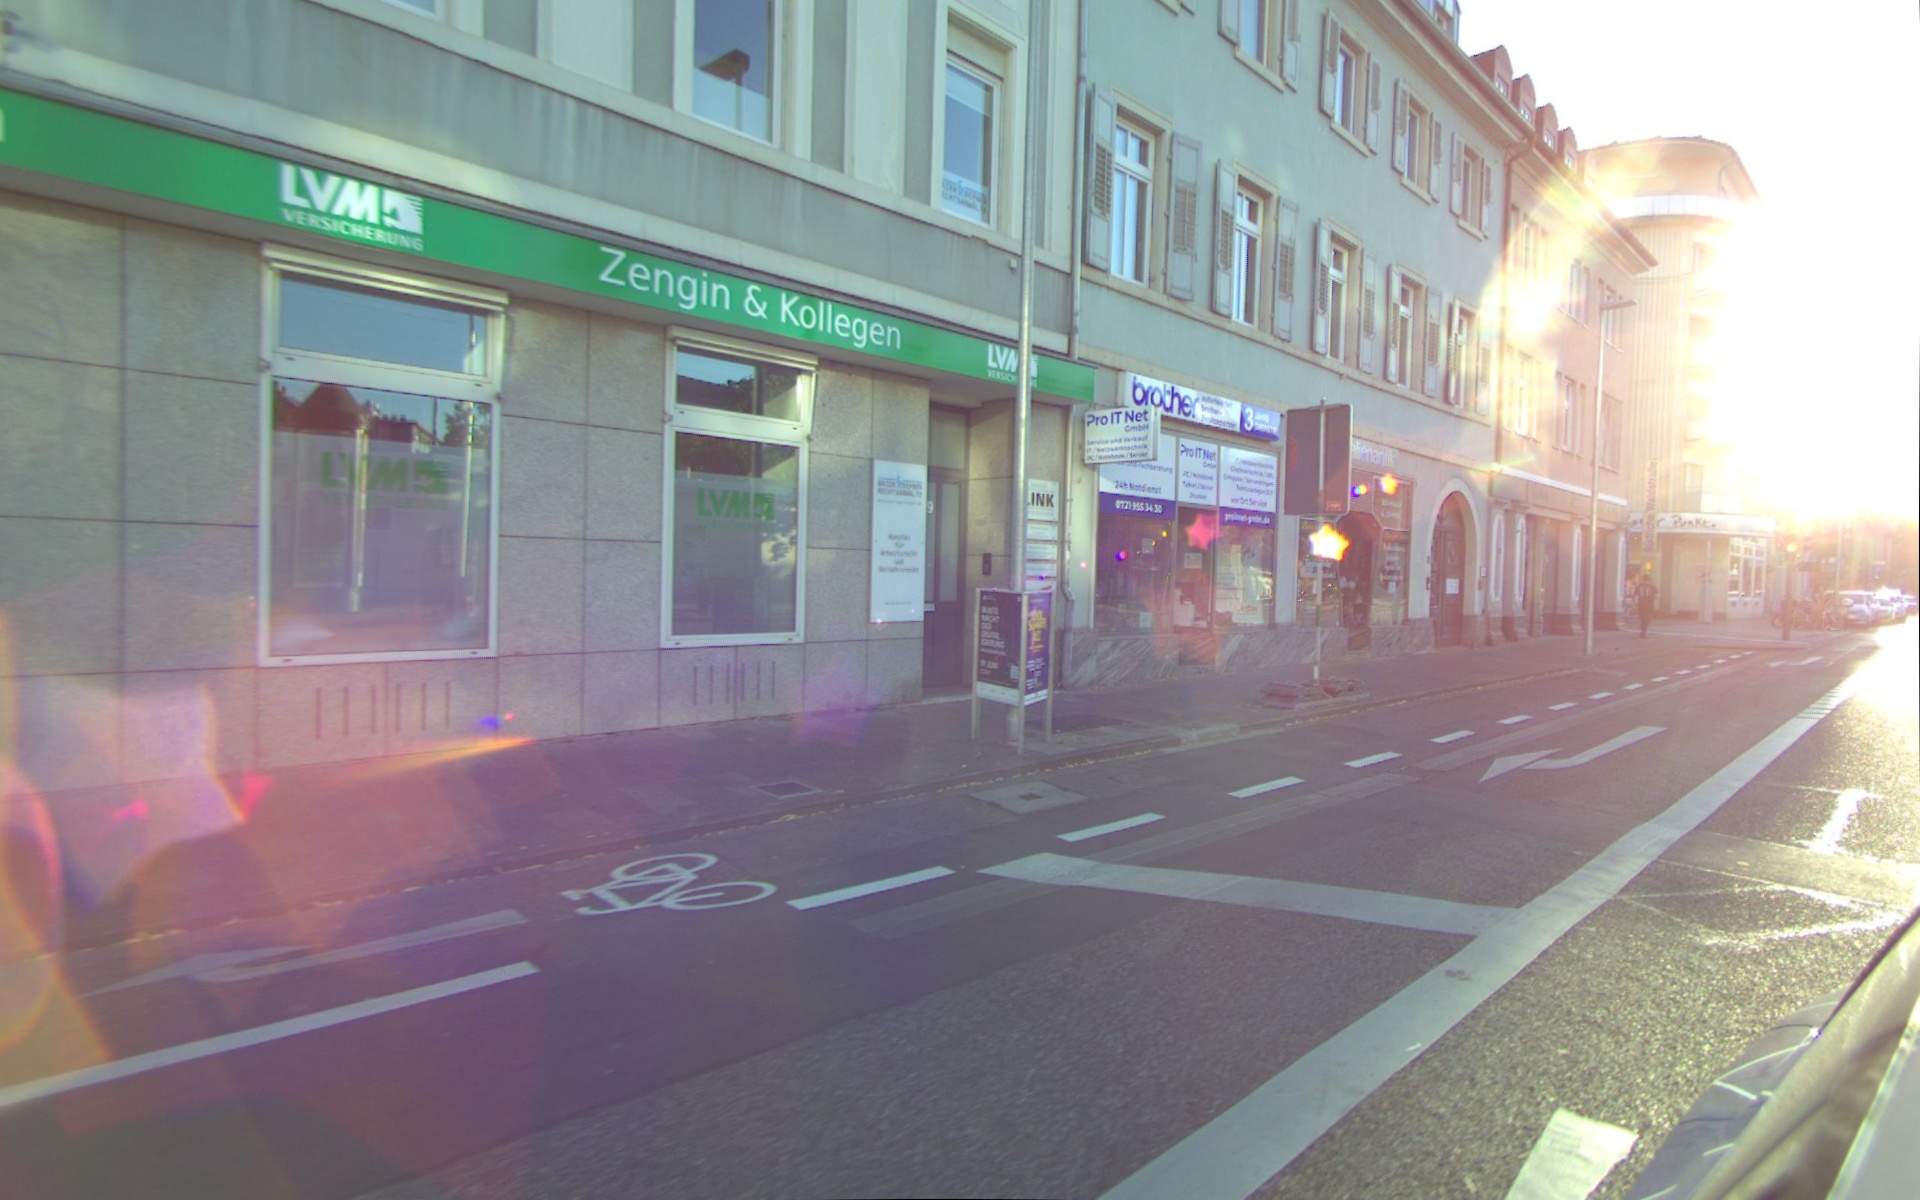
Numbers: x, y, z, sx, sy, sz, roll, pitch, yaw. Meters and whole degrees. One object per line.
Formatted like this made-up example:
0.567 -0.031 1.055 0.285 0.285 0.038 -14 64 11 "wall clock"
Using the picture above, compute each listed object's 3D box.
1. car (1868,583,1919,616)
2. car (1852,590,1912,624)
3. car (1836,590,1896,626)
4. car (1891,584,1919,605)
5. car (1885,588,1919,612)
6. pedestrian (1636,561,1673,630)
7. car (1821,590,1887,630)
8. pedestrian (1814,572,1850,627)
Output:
52.004 -0.059 56.206 4.435 1.667 1.995 -2 2 -44 "car"
47.586 0.328 52.214 4.435 1.566 1.995 -2 2 -44 "car"
43.583 0.355 48.640 1.994 1.566 4.439 1 2 44 "car"
74.999 -0.428 79.953 1.994 1.566 4.439 1 2 44 "car"
66.159 -0.043 70.805 1.994 1.566 4.439 1 2 44 "car"
18.920 -0.137 27.581 0.667 1.805 0.715 4 4 29 "pedestrian"
39.068 0.385 44.186 1.994 1.566 4.439 1 2 44 "car"
28.268 -0.030 32.814 0.840 1.768 0.690 1 1 45 "pedestrian"
